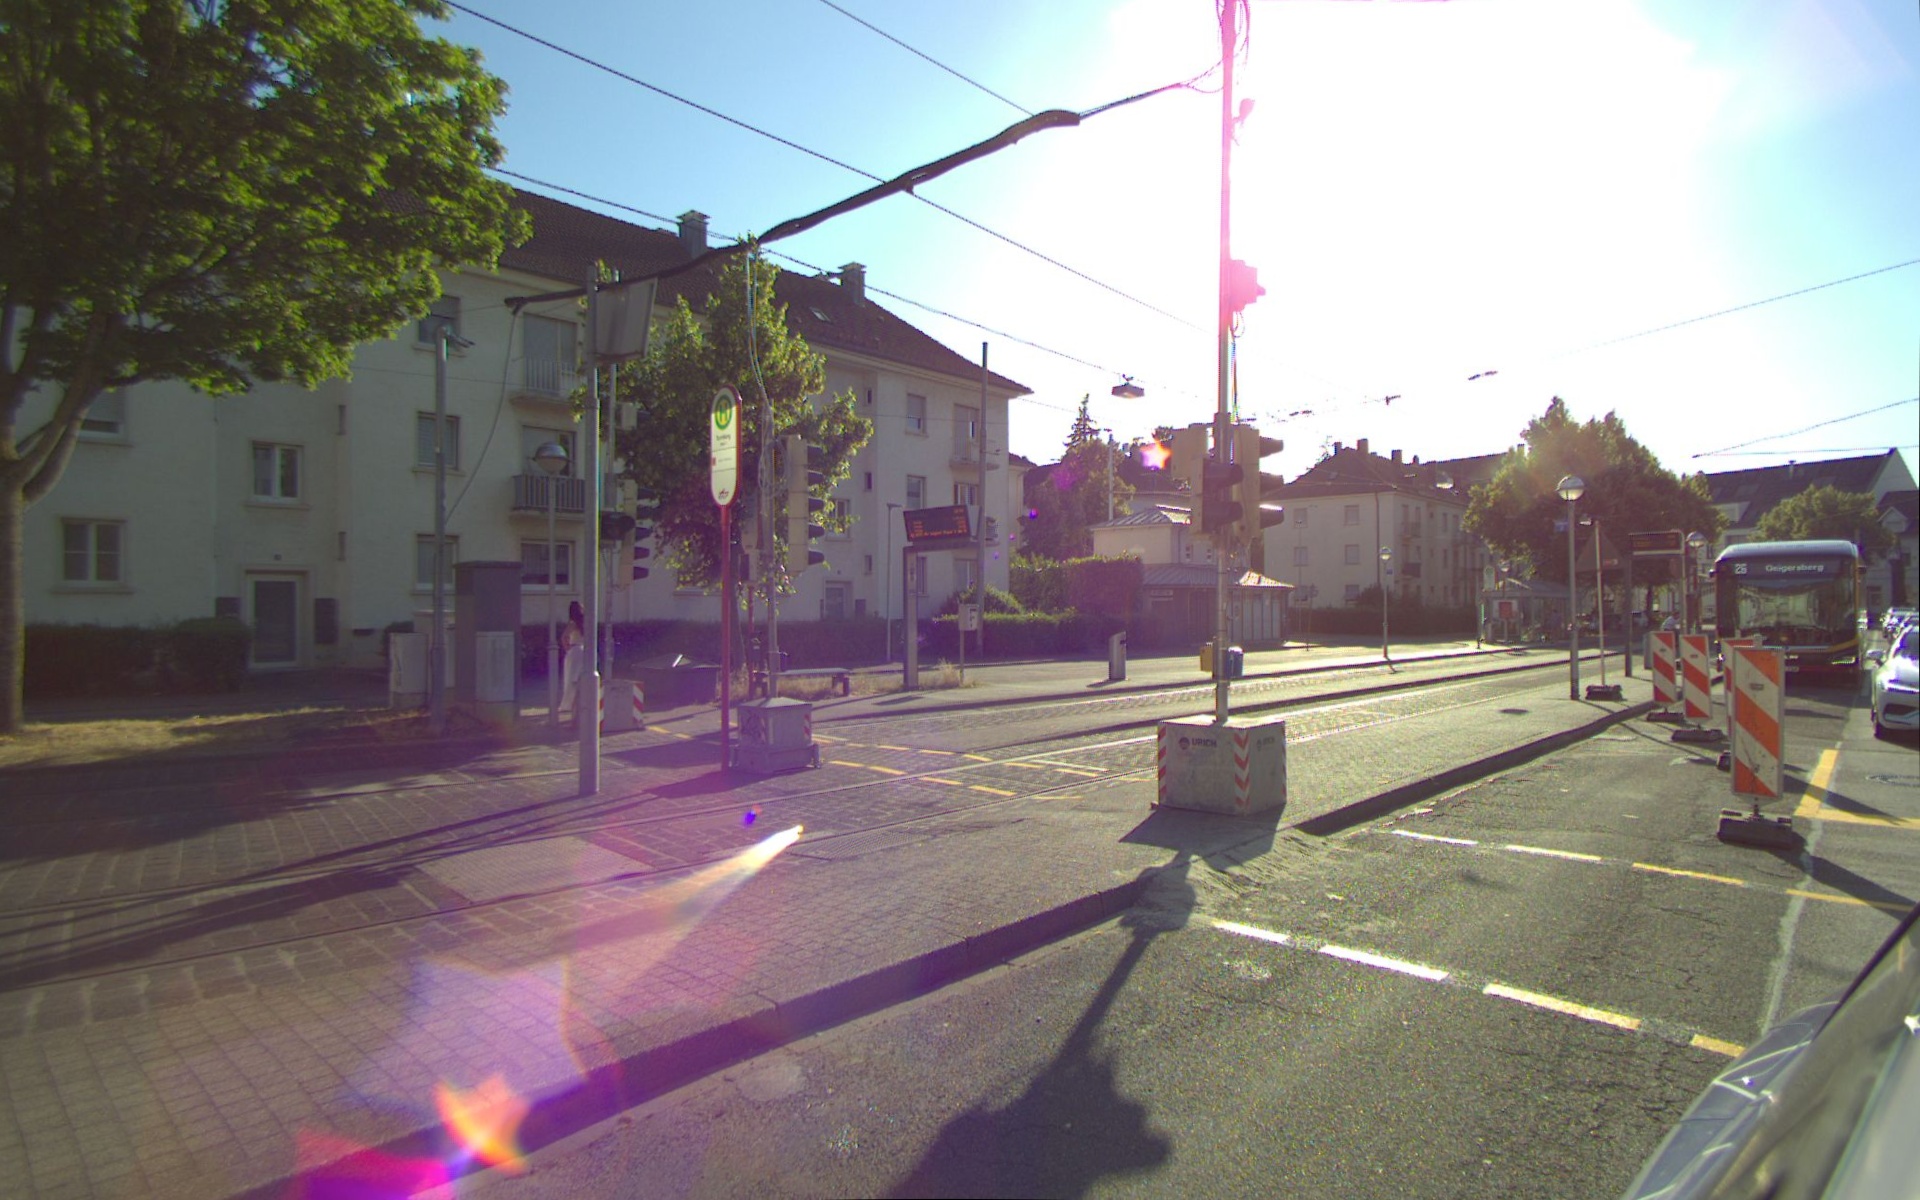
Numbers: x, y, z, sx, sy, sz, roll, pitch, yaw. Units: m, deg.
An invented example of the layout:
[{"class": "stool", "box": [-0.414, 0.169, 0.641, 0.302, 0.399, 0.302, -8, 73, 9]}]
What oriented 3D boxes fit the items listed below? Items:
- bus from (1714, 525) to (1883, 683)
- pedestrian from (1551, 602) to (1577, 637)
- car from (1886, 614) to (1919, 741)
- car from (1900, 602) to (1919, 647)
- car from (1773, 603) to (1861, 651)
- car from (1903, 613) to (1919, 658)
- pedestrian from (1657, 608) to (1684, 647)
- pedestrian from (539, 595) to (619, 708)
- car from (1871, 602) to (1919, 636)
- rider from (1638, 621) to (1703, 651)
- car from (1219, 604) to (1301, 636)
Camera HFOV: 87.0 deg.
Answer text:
[{"class": "bus", "box": [22.363, 0.122, 26.641, 2.741, 3.345, 11.843, 0, 0, 43]}, {"class": "pedestrian", "box": [29.063, 0.940, 48.712, 0.812, 1.631, 0.840, 0, 0, 9]}, {"class": "car", "box": [13.088, 0.940, 12.888, 1.816, 1.472, 4.150, 1, 0, 44]}, {"class": "car", "box": [39.035, 0.989, 40.524, 1.964, 1.726, 4.747, 1, 0, 44]}, {"class": "car", "box": [28.646, 0.861, 33.774, 1.964, 1.477, 4.747, 1, 0, 44]}, {"class": "car", "box": [34.074, 1.227, 35.072, 1.964, 1.477, 4.747, 1, 0, 44]}, {"class": "pedestrian", "box": [25.836, 1.000, 36.798, 0.569, 1.398, 0.659, 1, 0, -34]}, {"class": "pedestrian", "box": [-5.756, 0.747, 15.307, 0.783, 1.640, 0.819, 0, 0, 25]}, {"class": "car", "box": [50.012, 1.012, 53.951, 1.964, 1.726, 4.747, 1, 0, 44]}, {"class": "rider", "box": [25.834, 1.307, 36.807, 0.569, 1.004, 1.858, 1, 0, -34]}, {"class": "car", "box": [16.895, 1.110, 57.118, 1.967, 1.694, 4.044, 0, -1, -44]}]
